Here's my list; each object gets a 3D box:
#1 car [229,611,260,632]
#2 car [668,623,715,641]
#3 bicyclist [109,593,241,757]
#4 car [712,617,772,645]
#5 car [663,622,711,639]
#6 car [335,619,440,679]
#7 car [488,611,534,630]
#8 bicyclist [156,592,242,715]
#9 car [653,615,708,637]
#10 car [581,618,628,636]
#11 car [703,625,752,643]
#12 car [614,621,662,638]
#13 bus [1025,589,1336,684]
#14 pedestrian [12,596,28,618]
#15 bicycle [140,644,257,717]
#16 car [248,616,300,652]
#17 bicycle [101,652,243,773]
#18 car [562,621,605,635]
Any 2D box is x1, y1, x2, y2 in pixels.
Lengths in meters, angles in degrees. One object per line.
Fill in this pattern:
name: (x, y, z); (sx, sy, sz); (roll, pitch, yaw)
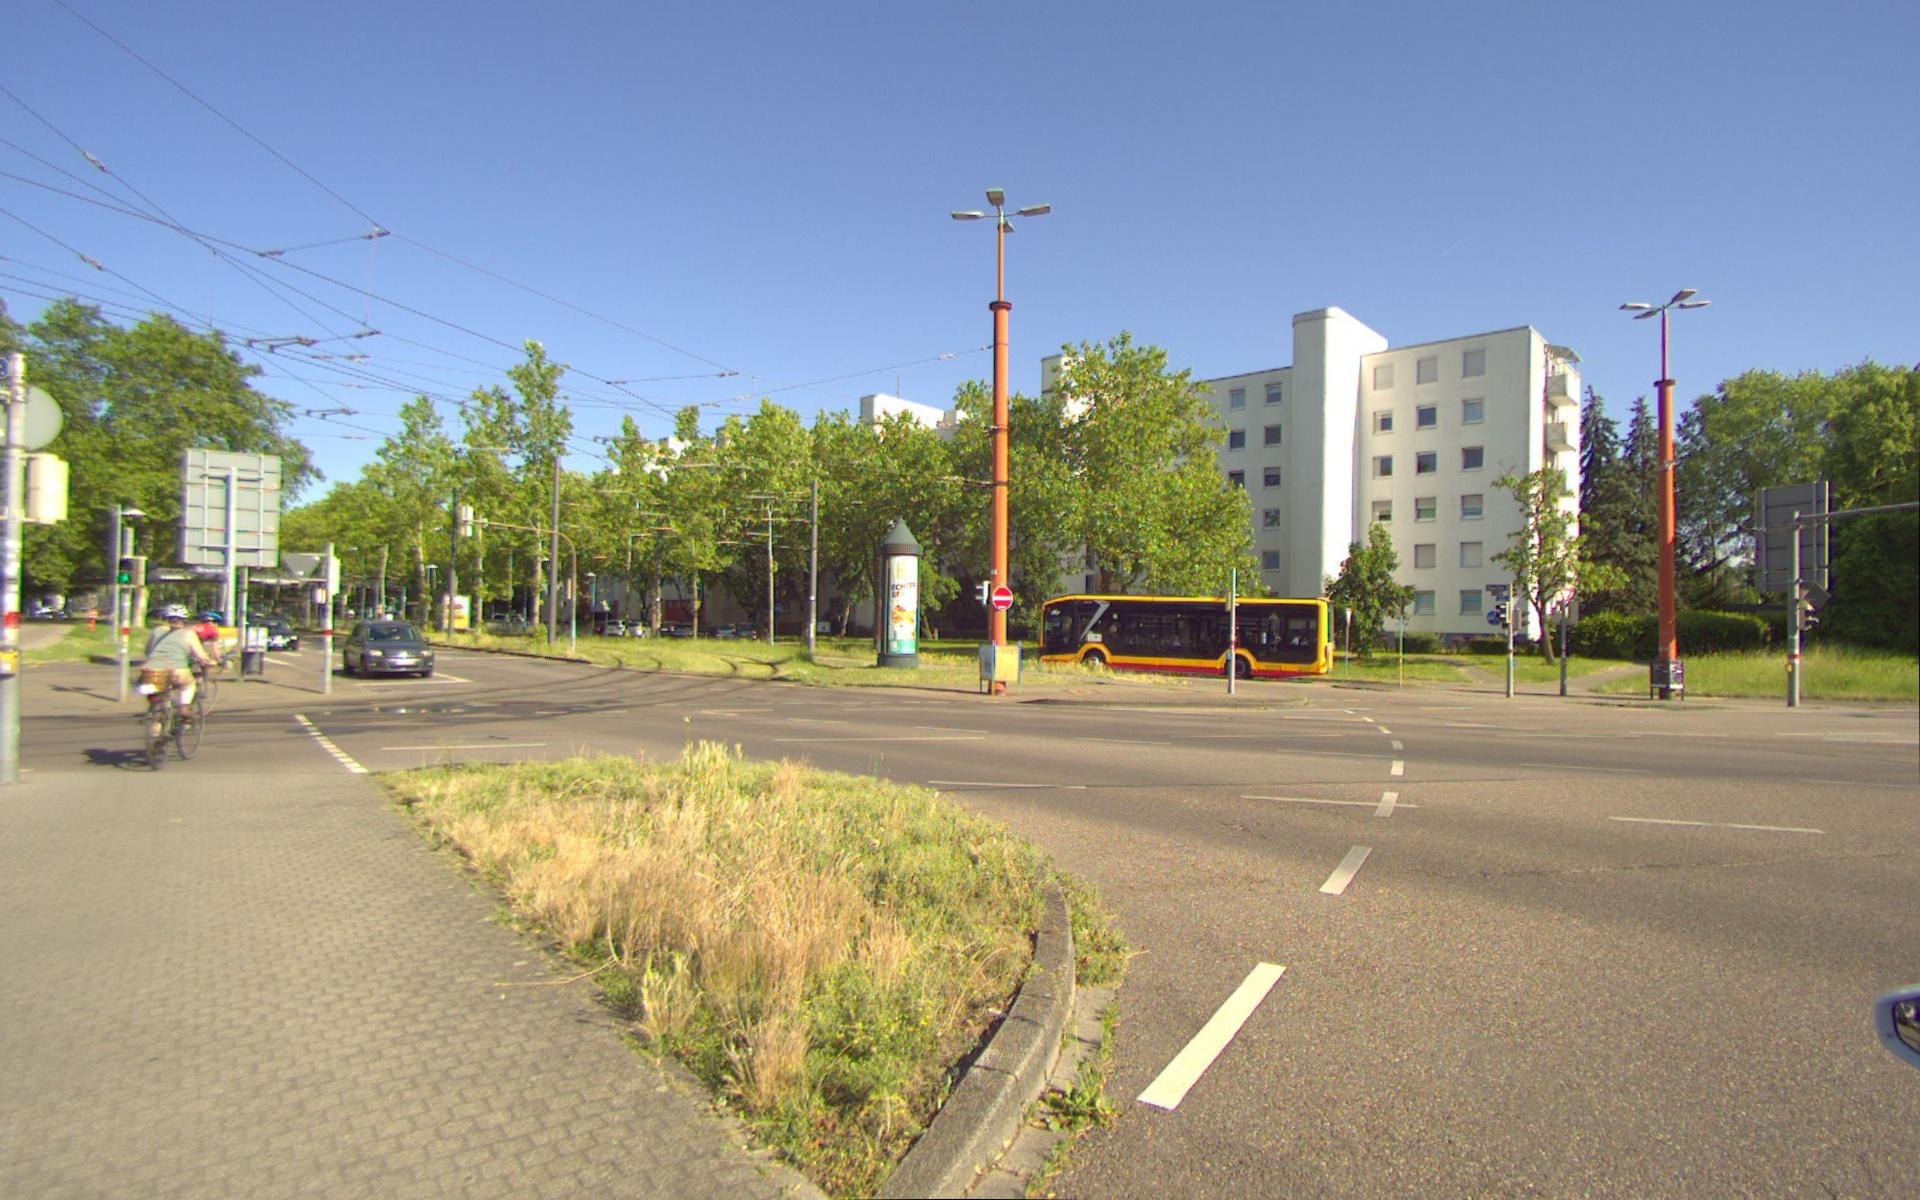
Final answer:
car: (-55.611, 1.661, 78.073); (1.829, 1.516, 3.959); (2, -1, -36)
car: (-20.410, 2.416, 76.416); (3.210, 1.172, 1.361); (2, 0, 2)
bicyclist: (-8.299, 0.780, 10.670); (0.881, 1.643, 0.822); (2, -2, -26)
car: (-15.637, 2.203, 72.074); (3.863, 1.841, 1.656); (2, 0, 1)
car: (-21.437, 2.407, 78.839); (3.336, 1.162, 1.308); (2, 0, 1)
car: (-17.124, 1.419, 29.945); (1.904, 1.516, 3.995); (2, -1, -42)
car: (-49.897, 2.250, 111.733); (4.259, 2.010, 1.939); (1, -1, -5)
bicyclist: (-12.479, 0.861, 16.505); (0.674, 1.938, 0.989); (2, -1, -10)
car: (-22.567, 2.078, 81.187); (3.861, 1.613, 1.660); (2, 0, 6)
car: (-31.619, 2.380, 89.314); (3.579, 1.480, 1.614); (2, 0, -5)
car: (-17.263, 2.518, 74.561); (3.272, 1.149, 1.324); (2, 0, 3)
car: (-27.739, 2.526, 86.567); (3.658, 1.349, 1.498); (2, 0, 6)
bus: (8.929, 1.368, 41.729); (12.301, 3.304, 2.652); (2, 0, 26)
pedestrian: (-68.214, 0.508, 72.888); (0.680, 1.576, 0.982); (2, -3, -34)
bicycle: (-12.494, 1.299, 16.553); (0.679, 1.085, 1.913); (2, -2, -10)
car: (-32.318, 1.585, 47.335); (1.899, 1.516, 3.961); (2, -1, -34)
bicycle: (-8.359, 1.146, 10.748); (0.730, 1.146, 1.904); (2, -2, -25)
car: (-34.448, 2.559, 91.939); (3.356, 1.204, 1.445); (2, 0, -9)
